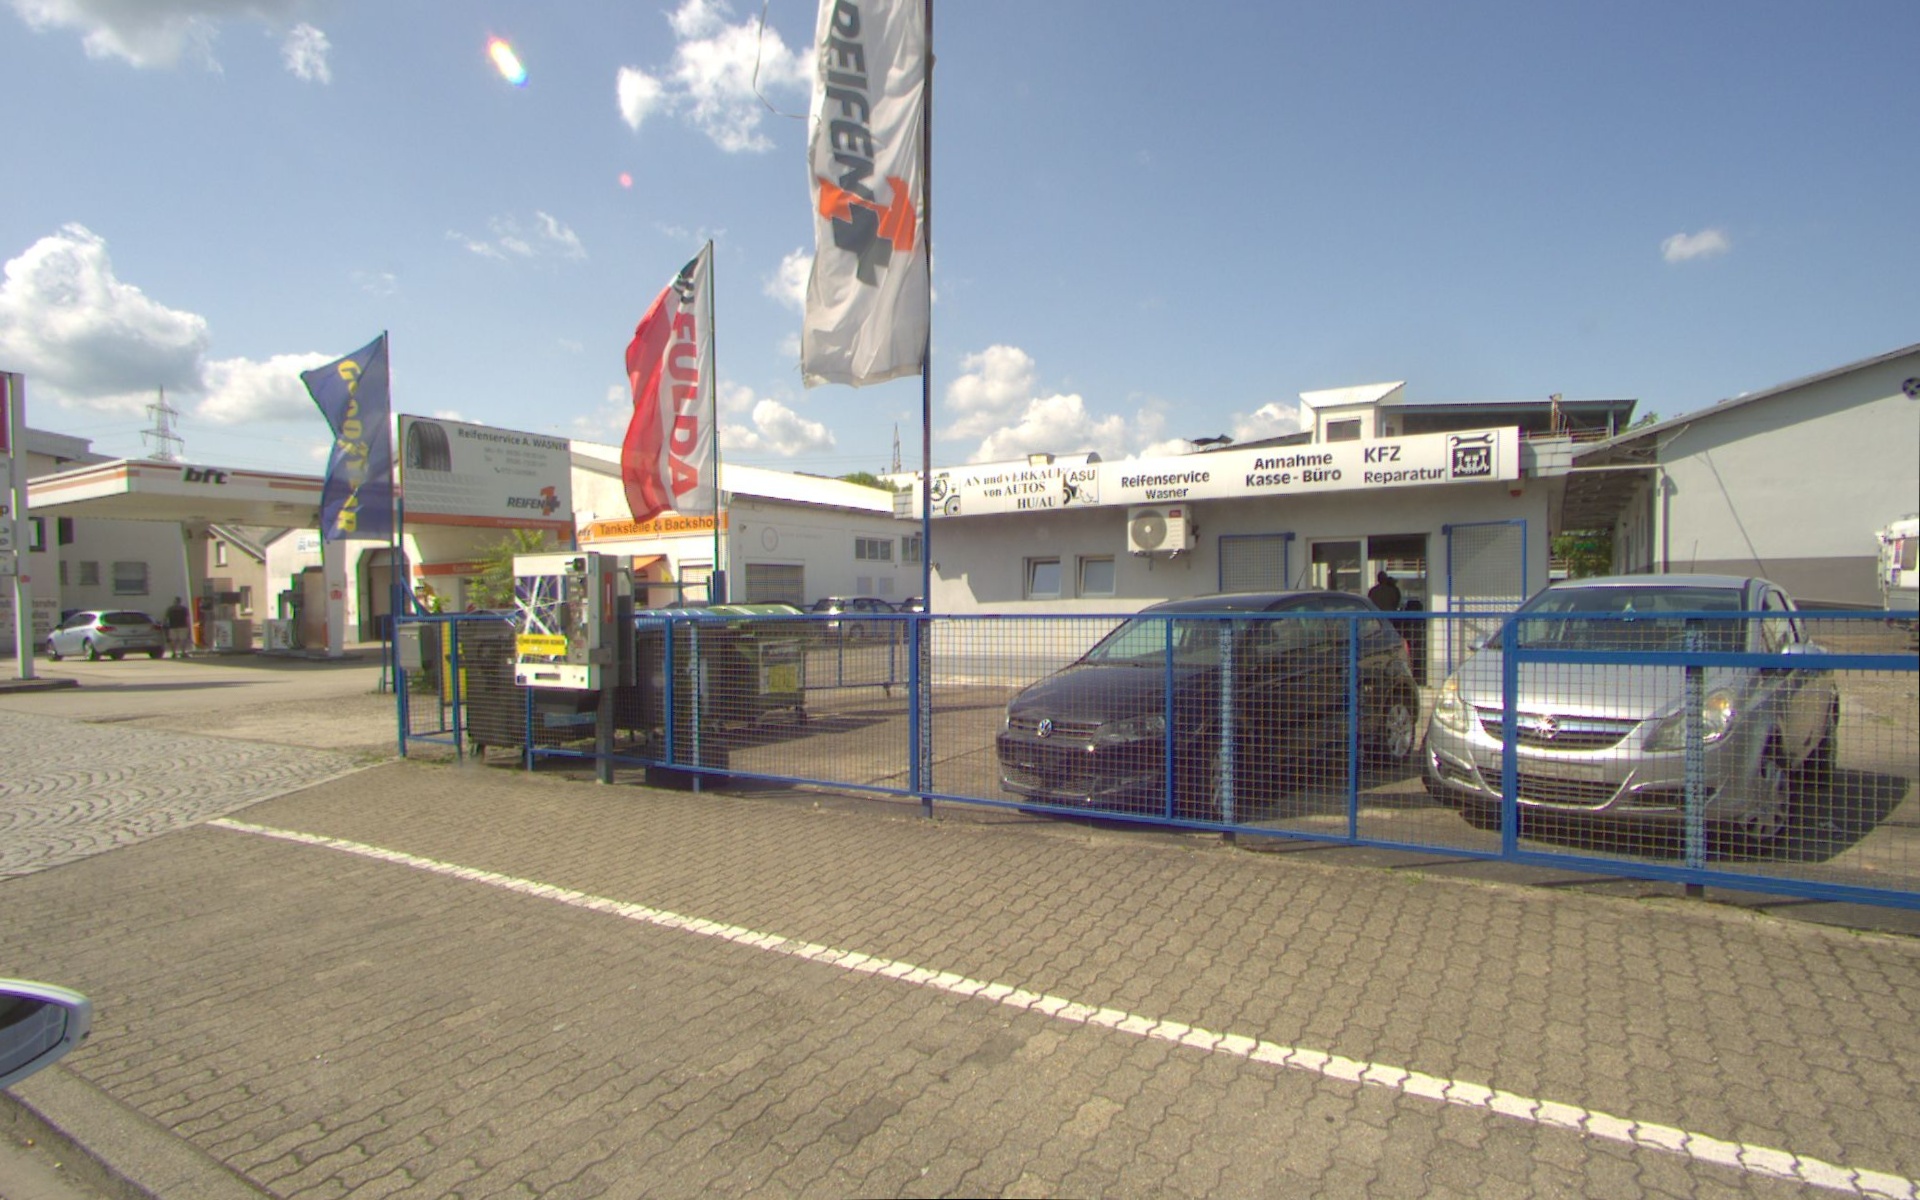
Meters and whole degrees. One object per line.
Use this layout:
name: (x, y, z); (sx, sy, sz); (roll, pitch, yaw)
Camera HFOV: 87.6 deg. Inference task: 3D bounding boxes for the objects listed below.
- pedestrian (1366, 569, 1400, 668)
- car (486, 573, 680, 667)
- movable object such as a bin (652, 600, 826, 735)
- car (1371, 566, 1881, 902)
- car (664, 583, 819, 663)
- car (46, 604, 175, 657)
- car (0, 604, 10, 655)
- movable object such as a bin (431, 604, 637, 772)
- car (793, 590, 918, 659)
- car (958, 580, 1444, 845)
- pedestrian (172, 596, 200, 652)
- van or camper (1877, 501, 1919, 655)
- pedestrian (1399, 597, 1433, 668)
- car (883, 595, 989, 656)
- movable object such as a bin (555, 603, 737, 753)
pedestrian: (7.440, 0.326, 17.607); (0.480, 1.710, 0.499); (0, 1, 30)
car: (-8.910, 0.436, 23.981); (1.971, 2.040, 3.979); (0, 0, 32)
movable object such as a bin: (-2.603, 0.742, 11.899); (1.433, 1.473, 1.427); (0, 1, 31)
car: (4.505, 0.586, 6.510); (4.104, 1.499, 1.787); (-1, 0, -42)
car: (-5.945, 0.571, 27.635); (1.971, 2.040, 3.979); (0, 0, 32)
car: (-25.831, 0.890, 30.434); (3.950, 1.499, 1.829); (-1, 1, 31)
car: (-32.812, 0.978, 31.402); (1.662, 1.646, 4.095); (0, 0, 33)
movable object such as a bin: (-4.129, 0.784, 9.744); (1.434, 1.473, 1.224); (0, 1, 31)
car: (-3.261, 0.728, 31.986); (1.971, 2.040, 3.979); (0, 0, 32)
car: (2.017, 0.626, 7.647); (3.962, 1.499, 1.705); (-1, 1, -43)
pedestrian: (-23.736, 0.730, 30.715); (0.628, 1.705, 0.618); (-1, 1, -36)
van or camper: (21.350, -0.460, 19.319); (4.983, 3.002, 2.276); (0, 1, 31)
pedestrian: (7.982, 0.561, 17.524); (0.480, 1.229, 0.499); (0, 1, 30)
car: (-0.801, 0.863, 35.876); (1.971, 2.040, 3.979); (0, 0, 32)
movable object such as a bin: (-3.369, 0.775, 10.784); (1.434, 1.473, 1.224); (0, 1, 31)
